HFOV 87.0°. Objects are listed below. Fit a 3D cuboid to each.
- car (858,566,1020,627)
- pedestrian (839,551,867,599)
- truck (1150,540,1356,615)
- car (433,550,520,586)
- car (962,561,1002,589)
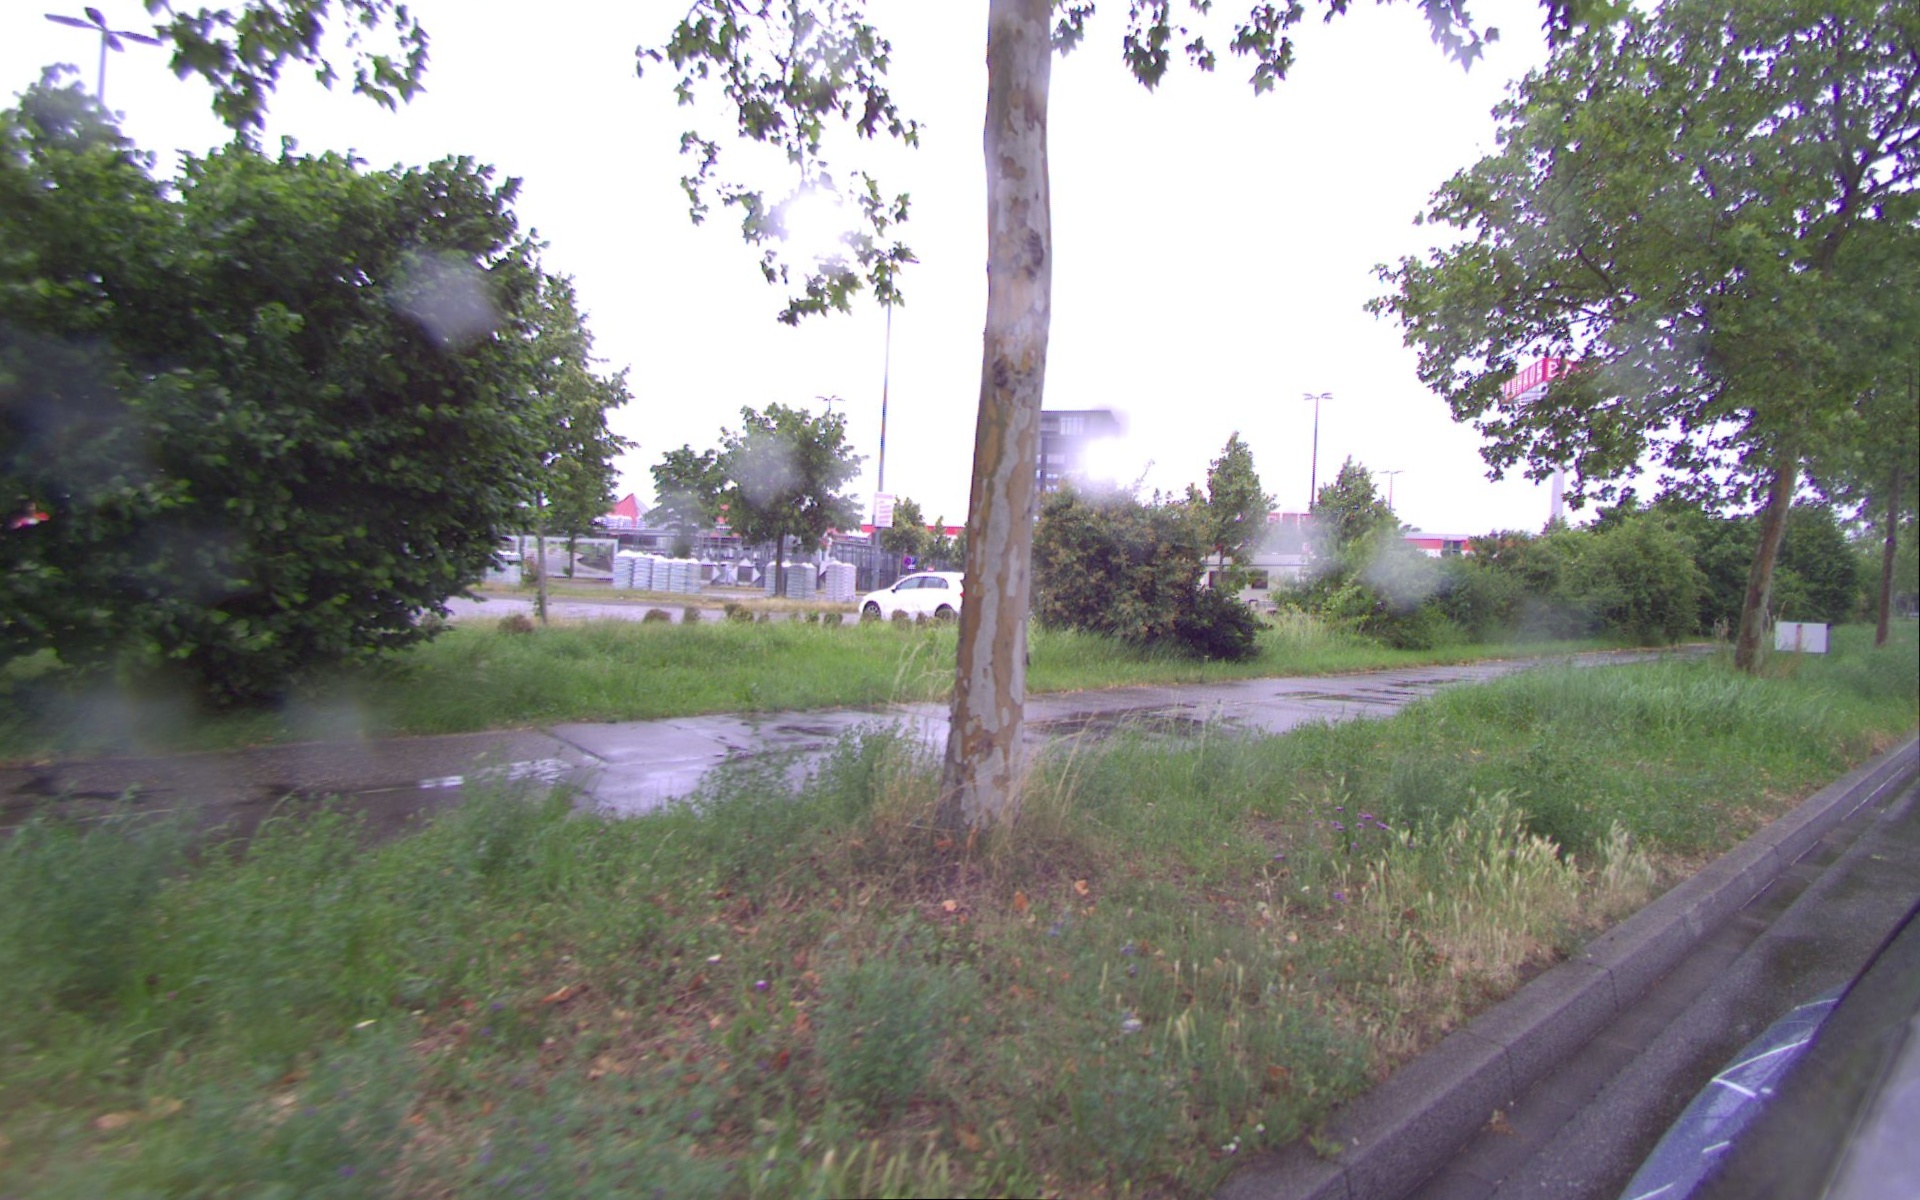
[{"bbox_3d":[-0.580,-0.111,25.099,1.838,1.382,3.990,-1,1,-44],"label":"car"},{"bbox_3d":[-4.113,-0.944,38.859,0.786,1.810,0.702,1,1,-45],"label":"pedestrian"},{"bbox_3d":[9.857,-0.759,34.550,6.530,2.333,2.186,1,1,43],"label":"truck"},{"bbox_3d":[-31.554,-2.108,66.118,5.085,2.229,2.072,1,3,17],"label":"car"},{"bbox_3d":[1.472,-1.635,65.346,1.968,1.738,3.990,2,2,10],"label":"car"}]
